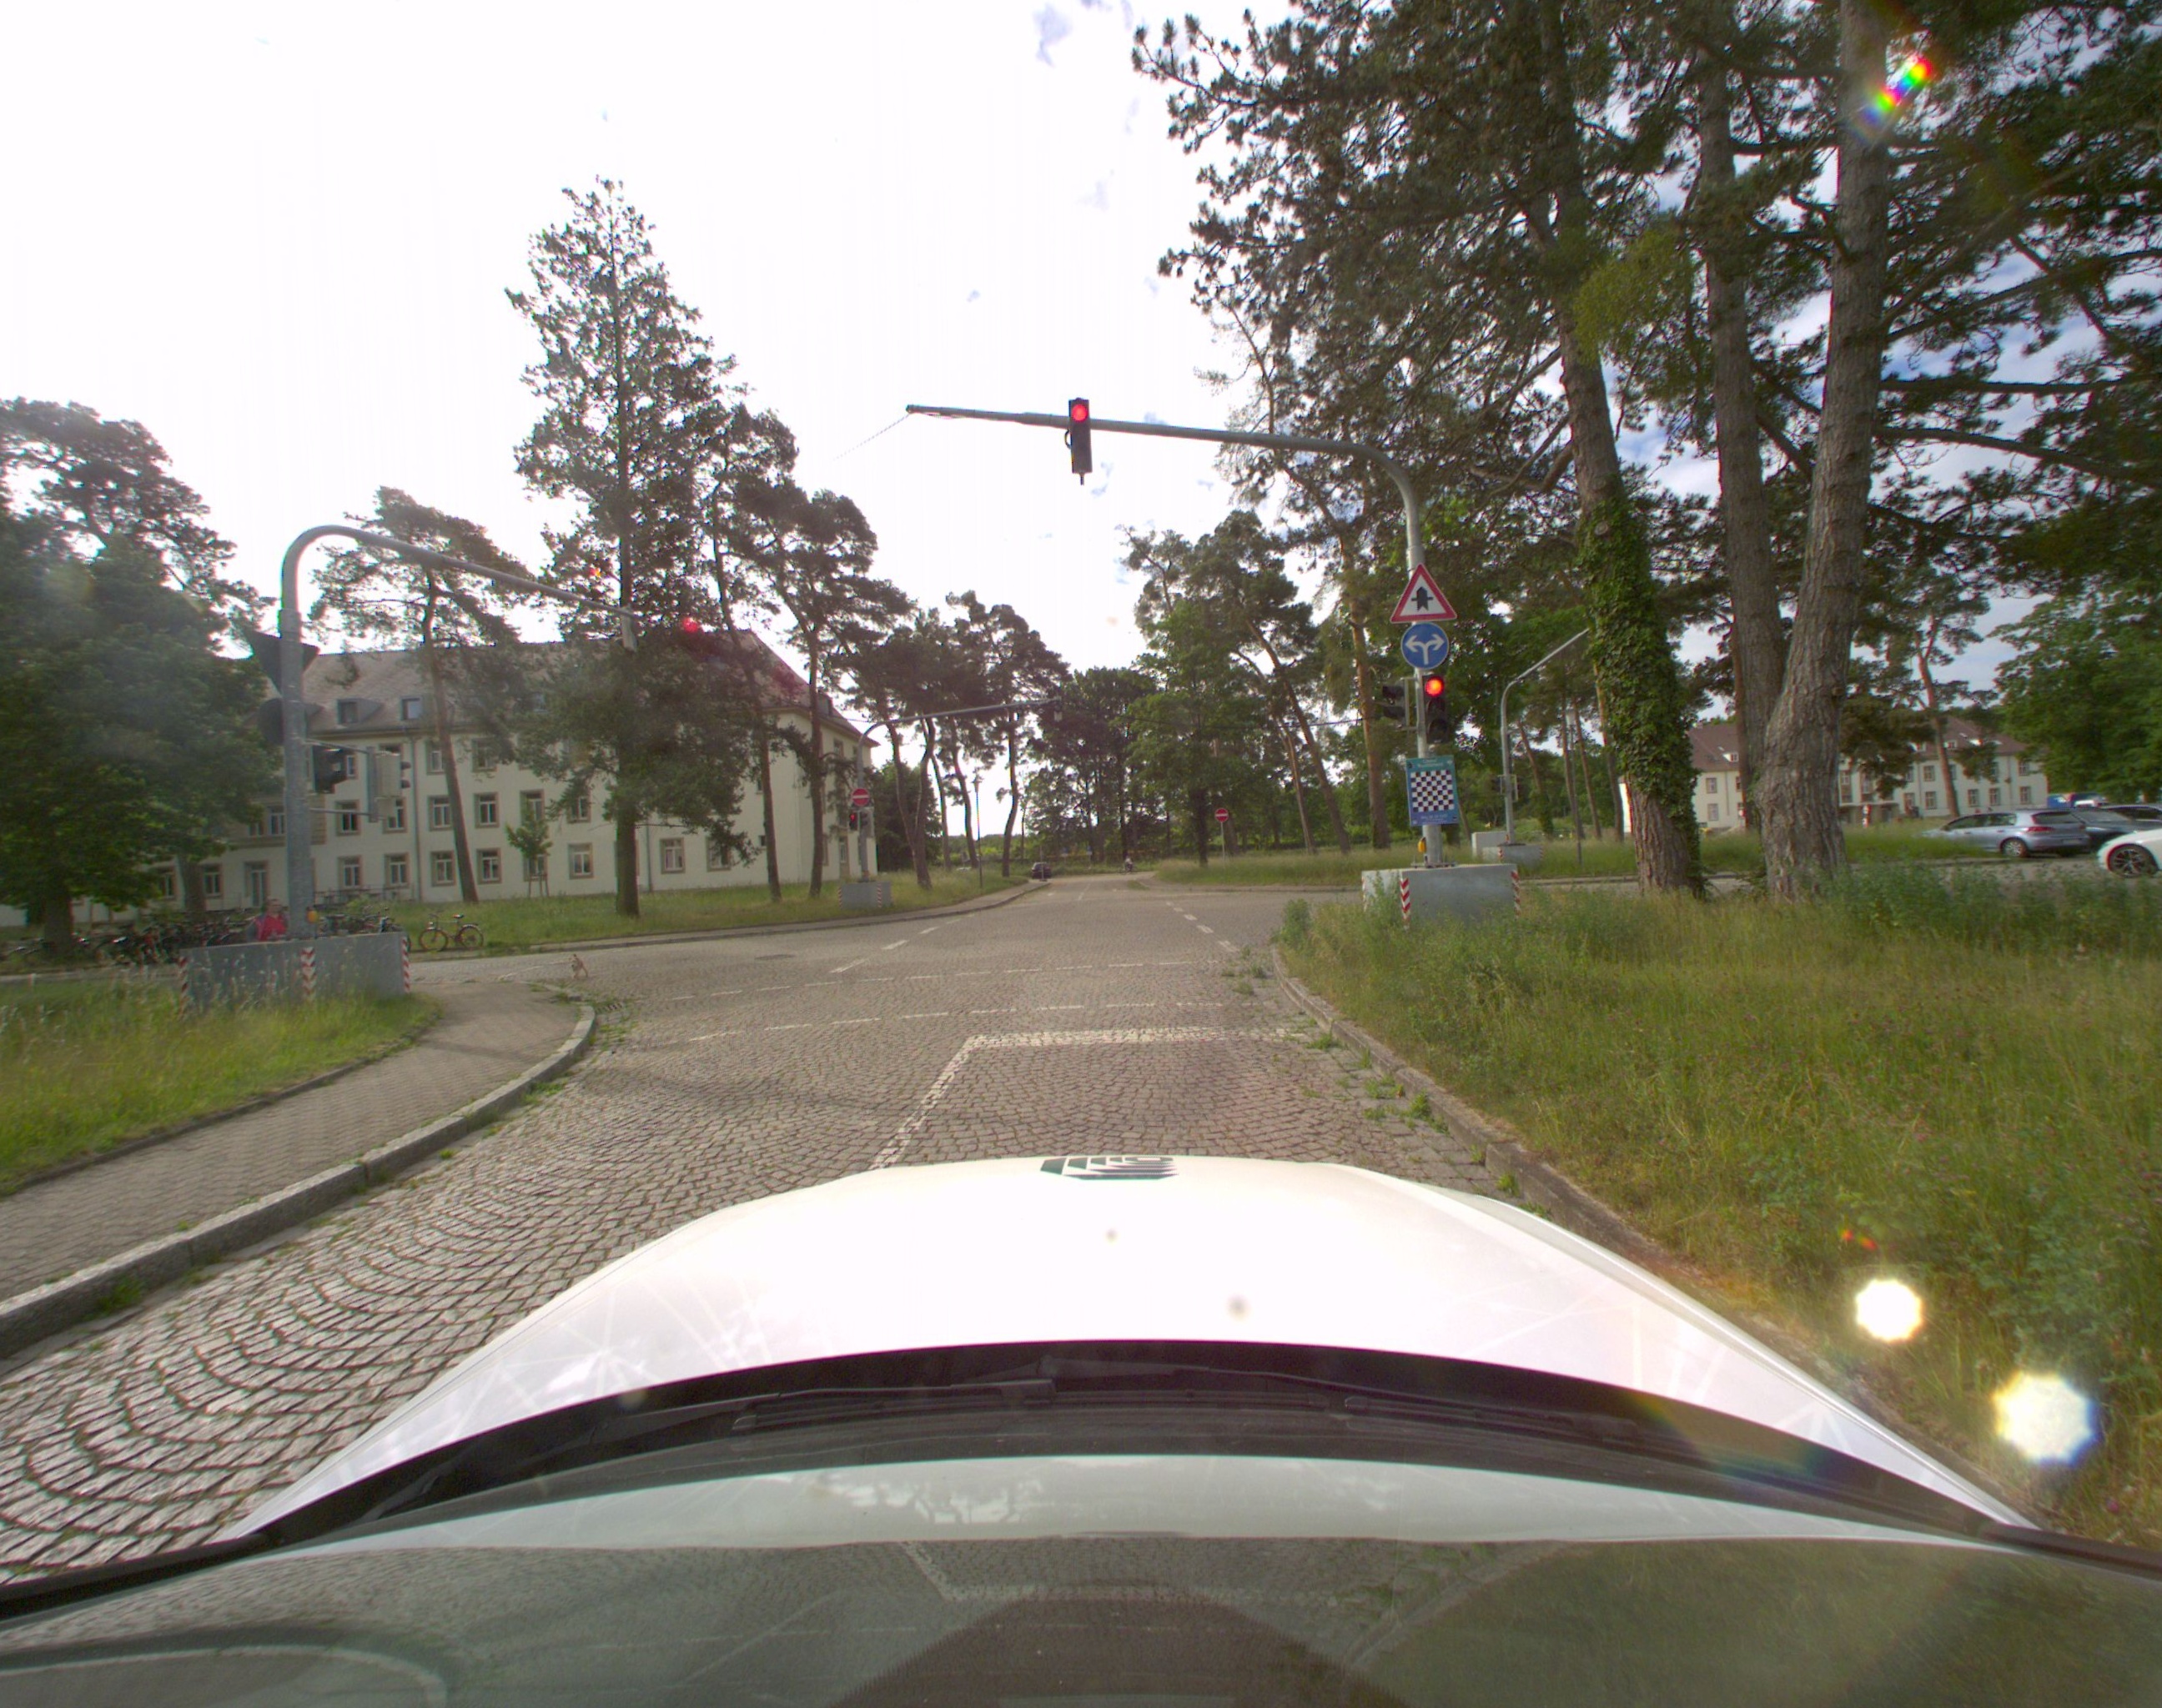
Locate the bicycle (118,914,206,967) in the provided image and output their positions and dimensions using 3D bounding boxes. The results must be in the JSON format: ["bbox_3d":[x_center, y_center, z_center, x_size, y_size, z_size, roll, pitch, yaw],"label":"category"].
[{"bbox_3d":[-25.424,2.365,22.578,0.447,1.283,1.695,-3,0,0],"label":"bicycle"}]

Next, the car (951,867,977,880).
[{"bbox_3d":[-11.335,1.877,79.120,1.682,1.156,4.003,-3,0,3],"label":"car"}]

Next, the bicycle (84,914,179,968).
[{"bbox_3d":[-26.355,2.399,22.651,0.447,1.283,1.827,-3,0,0],"label":"bicycle"}]

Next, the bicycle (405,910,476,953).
[{"bbox_3d":[-16.679,2.016,21.224,1.453,0.996,0.452,-3,-1,2],"label":"bicycle"}]

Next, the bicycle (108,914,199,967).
[{"bbox_3d":[-25.889,2.385,22.780,0.441,1.283,1.785,-3,0,0],"label":"bicycle"}]

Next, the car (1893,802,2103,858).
[{"bbox_3d":[28.911,-0.680,25.935,1.745,1.524,4.451,-4,0,3],"label":"car"}]

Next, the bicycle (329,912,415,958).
[{"bbox_3d":[-19.699,2.231,22.692,0.573,1.078,1.996,-3,0,0],"label":"bicycle"}]

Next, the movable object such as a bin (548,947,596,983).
[{"bbox_3d":[-8.843,1.923,14.160,0.443,0.503,0.749,-3,0,-11],"label":"movable object such as a bin"}]

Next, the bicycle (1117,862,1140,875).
[{"bbox_3d":[4.307,1.320,74.555,1.981,1.095,0.809,-4,0,-3],"label":"bicycle"}]

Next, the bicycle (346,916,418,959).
[{"bbox_3d":[-18.200,2.162,21.215,1.453,0.996,0.452,-3,-1,2],"label":"bicycle"}]

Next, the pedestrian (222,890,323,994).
[{"bbox_3d":[-13.982,1.499,14.100,0.851,1.668,0.945,-4,-1,25],"label":"pedestrian"}]

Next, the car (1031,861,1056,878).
[{"bbox_3d":[-3.595,1.480,78.338,1.985,1.508,4.003,-2,0,3],"label":"car"}]

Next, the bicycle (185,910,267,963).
[{"bbox_3d":[-23.712,2.253,22.625,0.447,1.283,1.695,-3,0,0],"label":"bicycle"}]

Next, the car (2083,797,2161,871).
[{"bbox_3d":[21.377,-0.448,14.394,1.748,1.415,4.444,-3,-1,-2],"label":"car"}]

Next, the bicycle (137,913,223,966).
[{"bbox_3d":[-24.937,2.348,22.585,0.447,1.283,1.695,-3,0,0],"label":"bicycle"}]

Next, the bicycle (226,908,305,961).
[{"bbox_3d":[-22.691,2.218,22.701,0.447,1.283,1.695,-3,0,0],"label":"bicycle"}]

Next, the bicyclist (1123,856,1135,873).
[{"bbox_3d":[4.390,0.956,74.567,0.972,1.510,0.807,-3,-1,-2],"label":"bicyclist"}]

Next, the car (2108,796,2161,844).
[{"bbox_3d":[36.429,-1.179,25.935,1.748,1.524,4.444,-3,0,-2],"label":"car"}]

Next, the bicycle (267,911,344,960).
[{"bbox_3d":[-21.493,2.240,22.603,0.447,1.178,1.695,-3,0,0],"label":"bicycle"}]

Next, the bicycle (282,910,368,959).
[{"bbox_3d":[-20.980,2.210,22.656,0.526,1.178,1.930,-3,0,0],"label":"bicycle"}]

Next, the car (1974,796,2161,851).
[{"bbox_3d":[31.323,-0.913,25.464,1.748,1.524,4.443,-3,0,-2],"label":"car"}]

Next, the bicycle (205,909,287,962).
[{"bbox_3d":[-23.196,2.235,22.664,0.447,1.283,1.695,-3,0,0],"label":"bicycle"}]

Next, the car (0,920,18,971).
[{"bbox_3d":[-34.275,2.886,23.537,1.832,1.556,3.899,-3,0,2],"label":"car"}]

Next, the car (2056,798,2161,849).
[{"bbox_3d":[33.974,-1.003,25.386,1.748,1.524,4.444,-3,0,-2],"label":"car"}]

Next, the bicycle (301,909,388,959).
[{"bbox_3d":[-20.398,2.189,22.623,0.573,1.178,1.954,-3,0,0],"label":"bicycle"}]

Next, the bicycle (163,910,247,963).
[{"bbox_3d":[-24.275,2.272,22.607,0.447,1.283,1.695,-3,0,0],"label":"bicycle"}]
